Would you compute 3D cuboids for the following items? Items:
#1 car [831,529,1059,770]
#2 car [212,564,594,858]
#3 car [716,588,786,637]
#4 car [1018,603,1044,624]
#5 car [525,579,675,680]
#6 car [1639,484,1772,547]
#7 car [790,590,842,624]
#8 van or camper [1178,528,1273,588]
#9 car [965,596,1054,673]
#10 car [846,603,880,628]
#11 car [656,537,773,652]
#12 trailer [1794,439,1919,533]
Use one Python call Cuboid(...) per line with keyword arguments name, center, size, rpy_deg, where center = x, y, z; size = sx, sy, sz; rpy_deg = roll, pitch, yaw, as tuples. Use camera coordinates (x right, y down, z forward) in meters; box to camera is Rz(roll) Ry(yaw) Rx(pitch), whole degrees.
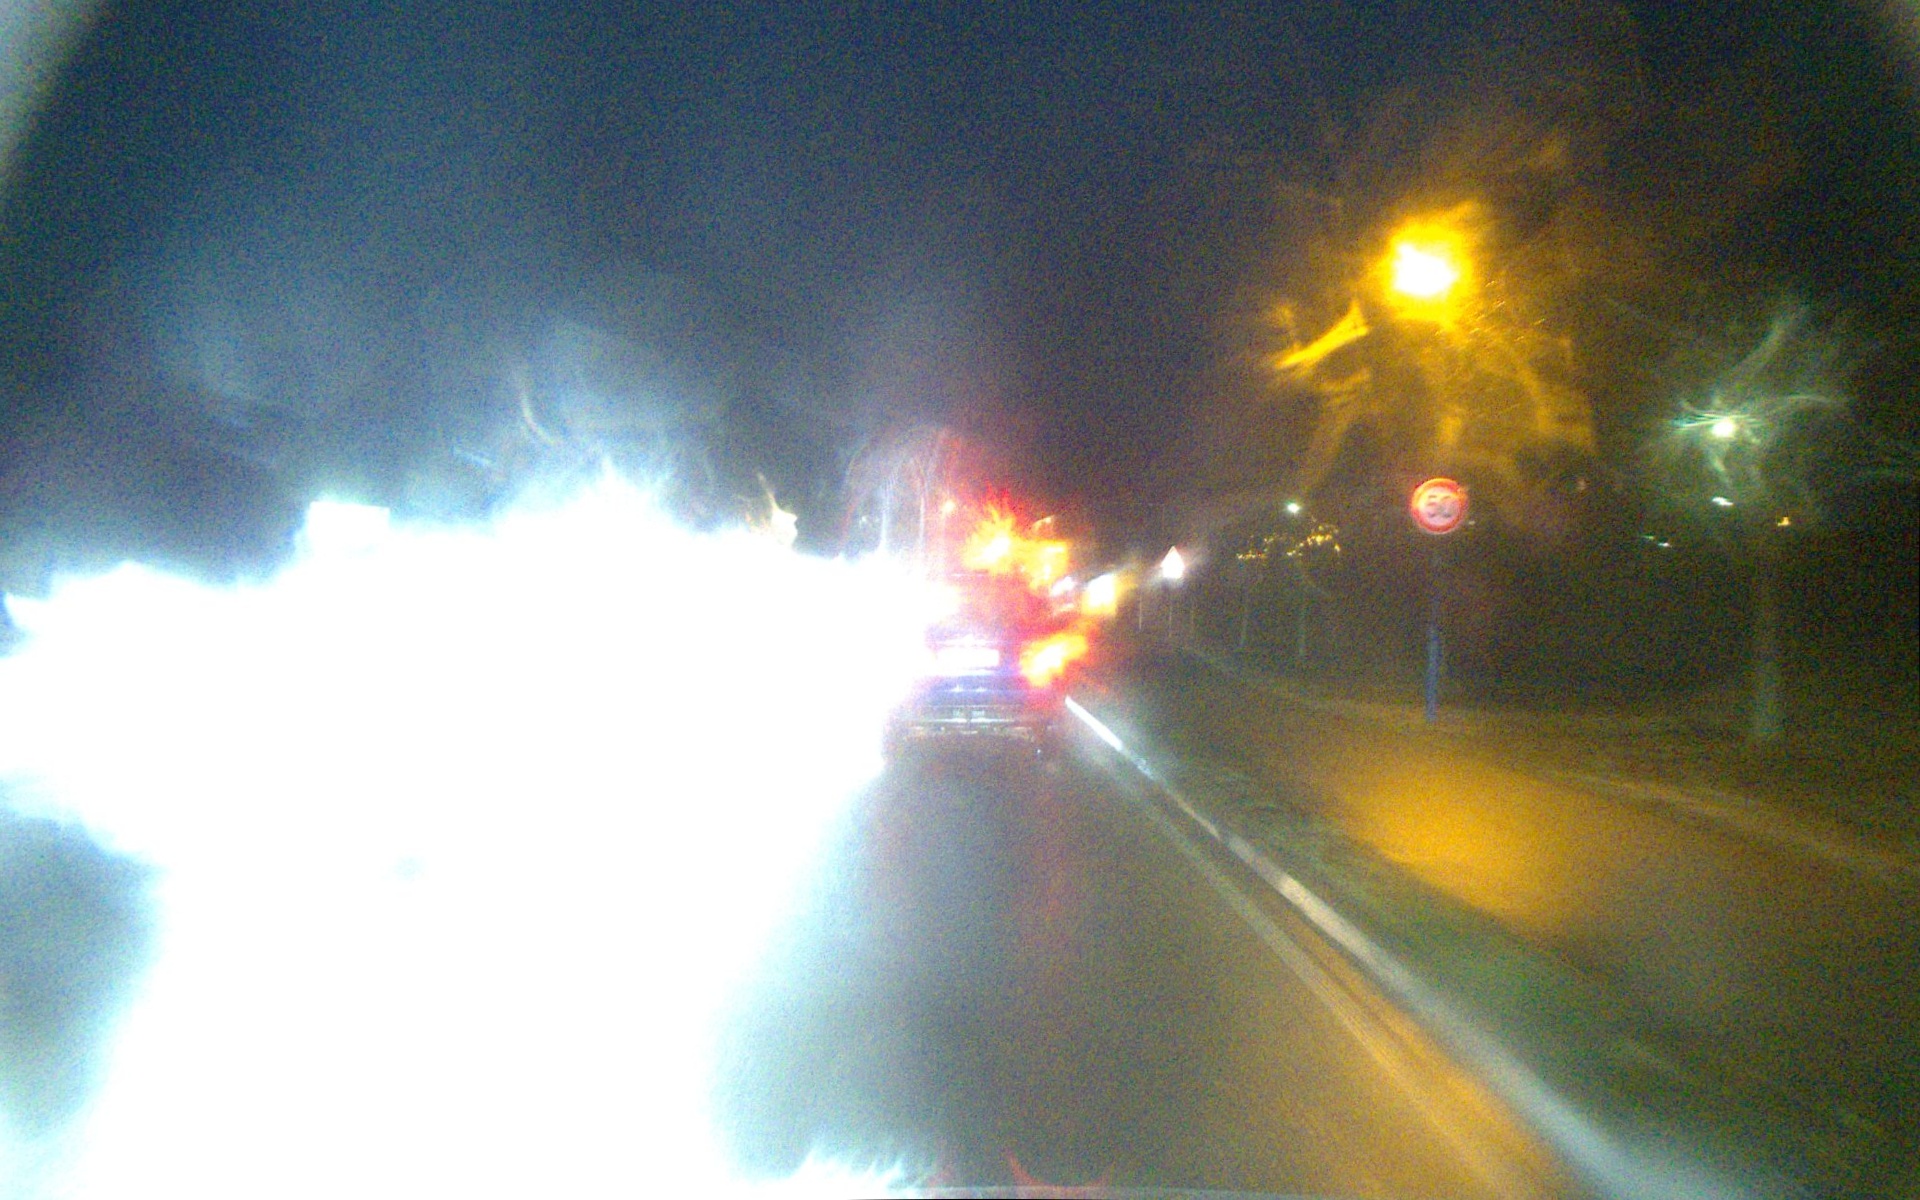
Cuboid(name="car", center=(-0.166, 0.406, 16.099), size=(1.903, 2.006, 4.217), rpy_deg=(1, 0, -1))
Cuboid(name="car", center=(-3.654, 0.624, 11.647), size=(1.771, 1.658, 4.407), rpy_deg=(1, 0, -9))
Cuboid(name="car", center=(-6.973, 0.389, 55.531), size=(1.840, 1.564, 3.987), rpy_deg=(1, 0, -1))
Cuboid(name="car", center=(5.155, 1.008, 119.207), size=(1.628, 1.475, 4.052), rpy_deg=(0, -1, 6))
Cuboid(name="car", center=(-6.222, 0.465, 29.015), size=(1.685, 1.616, 4.311), rpy_deg=(1, 0, 0))
Cuboid(name="car", center=(22.576, -2.527, 50.246), size=(1.585, 1.668, 3.986), rpy_deg=(1, 0, -13))
Cuboid(name="car", center=(-6.598, 0.303, 76.305), size=(2.035, 1.474, 4.991), rpy_deg=(1, 0, -1))
Cuboid(name="van or camper", center=(13.785, -2.120, 86.374), size=(2.538, 2.959, 6.332), rpy_deg=(0, 0, -16))
Cuboid(name="car", center=(1.059, 0.675, 34.506), size=(1.731, 1.475, 4.219), rpy_deg=(1, 0, 2))
Cuboid(name="car", center=(-5.969, 0.946, 102.305), size=(1.879, 1.469, 4.544), rpy_deg=(1, 0, -1))
Cuboid(name="car", center=(-6.328, -0.146, 43.310), size=(2.079, 2.755, 6.240), rpy_deg=(1, 0, 0))
Cuboid(name="trailer", center=(24.348, -2.904, 42.537), size=(2.186, 2.108, 5.705), rpy_deg=(0, 0, -11))
